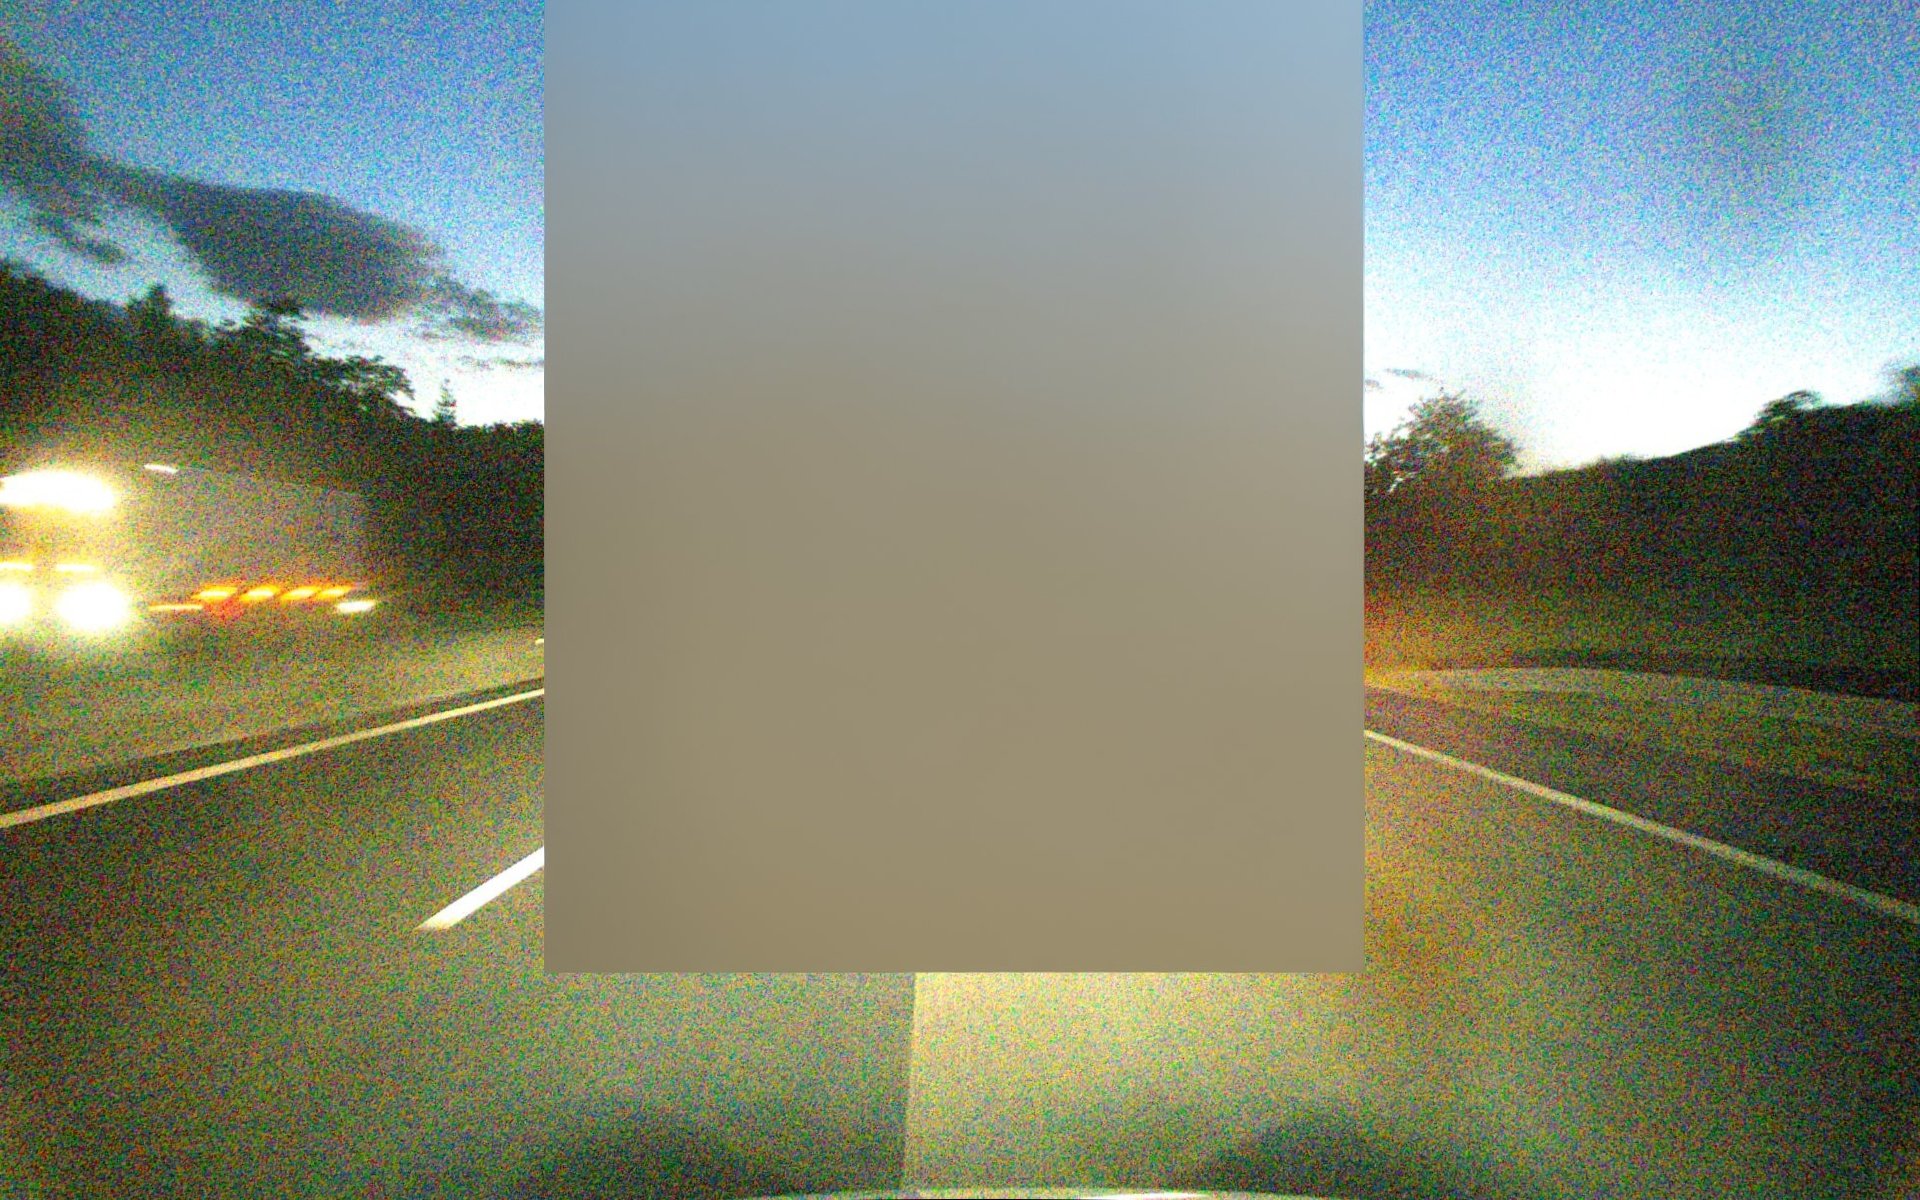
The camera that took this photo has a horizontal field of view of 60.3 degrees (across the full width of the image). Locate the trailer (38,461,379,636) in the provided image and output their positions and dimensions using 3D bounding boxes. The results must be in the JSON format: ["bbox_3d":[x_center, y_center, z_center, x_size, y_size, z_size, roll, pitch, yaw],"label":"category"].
[{"bbox_3d":[-20.131,-1.215,45.861,3.360,4.050,13.808,1,0,-1],"label":"trailer"}]

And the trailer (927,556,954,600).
[{"bbox_3d":[-2.191,-2.401,187.204,2.772,4.331,17.044,1,-1,-1],"label":"trailer"}]

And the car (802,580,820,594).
[{"bbox_3d":[-19.105,-1.628,212.386,1.969,1.699,4.482,0,0,-1],"label":"car"}]

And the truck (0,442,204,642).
[{"bbox_3d":[-19.930,-1.204,36.827,3.360,4.050,6.205,1,0,-1],"label":"truck"}]

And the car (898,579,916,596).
[{"bbox_3d":[-6.037,-1.433,188.780,1.953,1.825,3.999,1,-1,-1],"label":"car"}]

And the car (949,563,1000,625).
[{"bbox_3d":[0.642,-0.278,76.450,1.992,2.693,5.721,1,0,-3],"label":"car"}]

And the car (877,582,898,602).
[{"bbox_3d":[-7.046,-0.757,160.795,1.954,1.825,3.996,1,-1,-4],"label":"car"}]

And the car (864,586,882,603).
[{"bbox_3d":[-9.885,-0.609,189.113,1.953,1.848,3.998,1,-1,-2],"label":"car"}]

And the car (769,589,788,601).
[{"bbox_3d":[-22.514,-0.636,205.319,1.970,1.493,4.206,1,0,-3],"label":"car"}]

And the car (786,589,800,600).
[{"bbox_3d":[-25.426,-0.810,251.469,1.971,1.699,4.944,1,0,-5],"label":"car"}]

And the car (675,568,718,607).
[{"bbox_3d":[-17.985,-0.879,113.191,2.058,2.561,6.214,1,0,-2],"label":"car"}]

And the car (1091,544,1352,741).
[{"bbox_3d":[2.973,0.440,20.196,2.073,2.036,5.661,1,0,-2],"label":"car"}]

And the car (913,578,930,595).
[{"bbox_3d":[-5.302,-1.857,225.206,1.955,2.154,3.994,1,-1,-7],"label":"car"}]
